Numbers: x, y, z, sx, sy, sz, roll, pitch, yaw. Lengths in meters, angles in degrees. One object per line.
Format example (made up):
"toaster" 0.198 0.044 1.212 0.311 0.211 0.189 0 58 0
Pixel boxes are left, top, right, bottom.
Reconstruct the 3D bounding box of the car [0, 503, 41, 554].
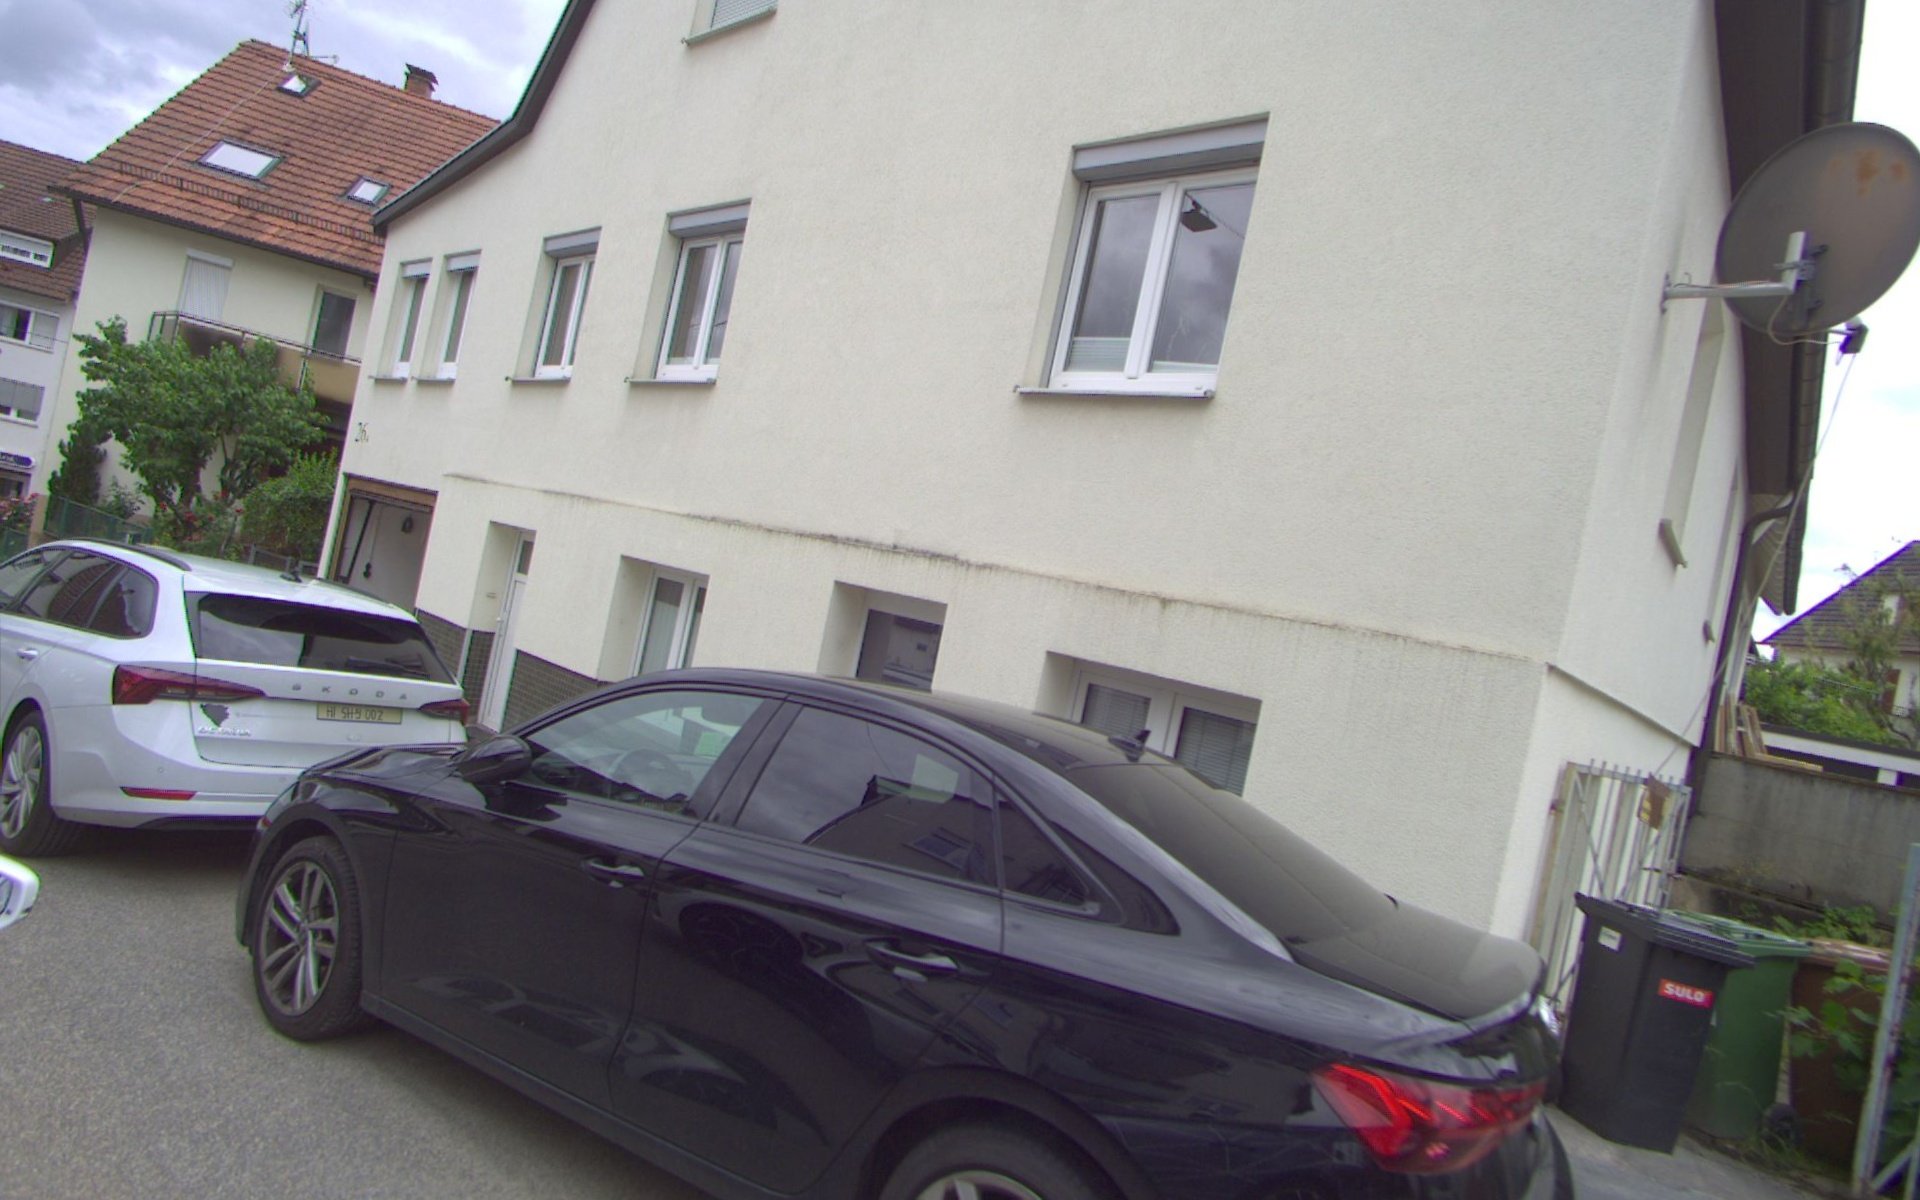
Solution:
"car" -34.549 -2.776 34.692 3.640 1.573 1.694 11 -3 -14

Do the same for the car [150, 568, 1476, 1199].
"car" -0.670 0.914 3.292 3.984 1.422 1.680 6 -6 32

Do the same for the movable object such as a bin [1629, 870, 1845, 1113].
"movable object such as a bin" 3.576 1.787 4.661 0.530 0.899 0.482 7 0 -3

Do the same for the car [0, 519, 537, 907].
"car" -4.658 0.442 5.914 4.229 1.460 1.800 6 -6 34

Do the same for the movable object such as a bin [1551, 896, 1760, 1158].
"movable object such as a bin" 2.871 1.750 4.178 0.445 0.875 0.434 10 -2 -11
